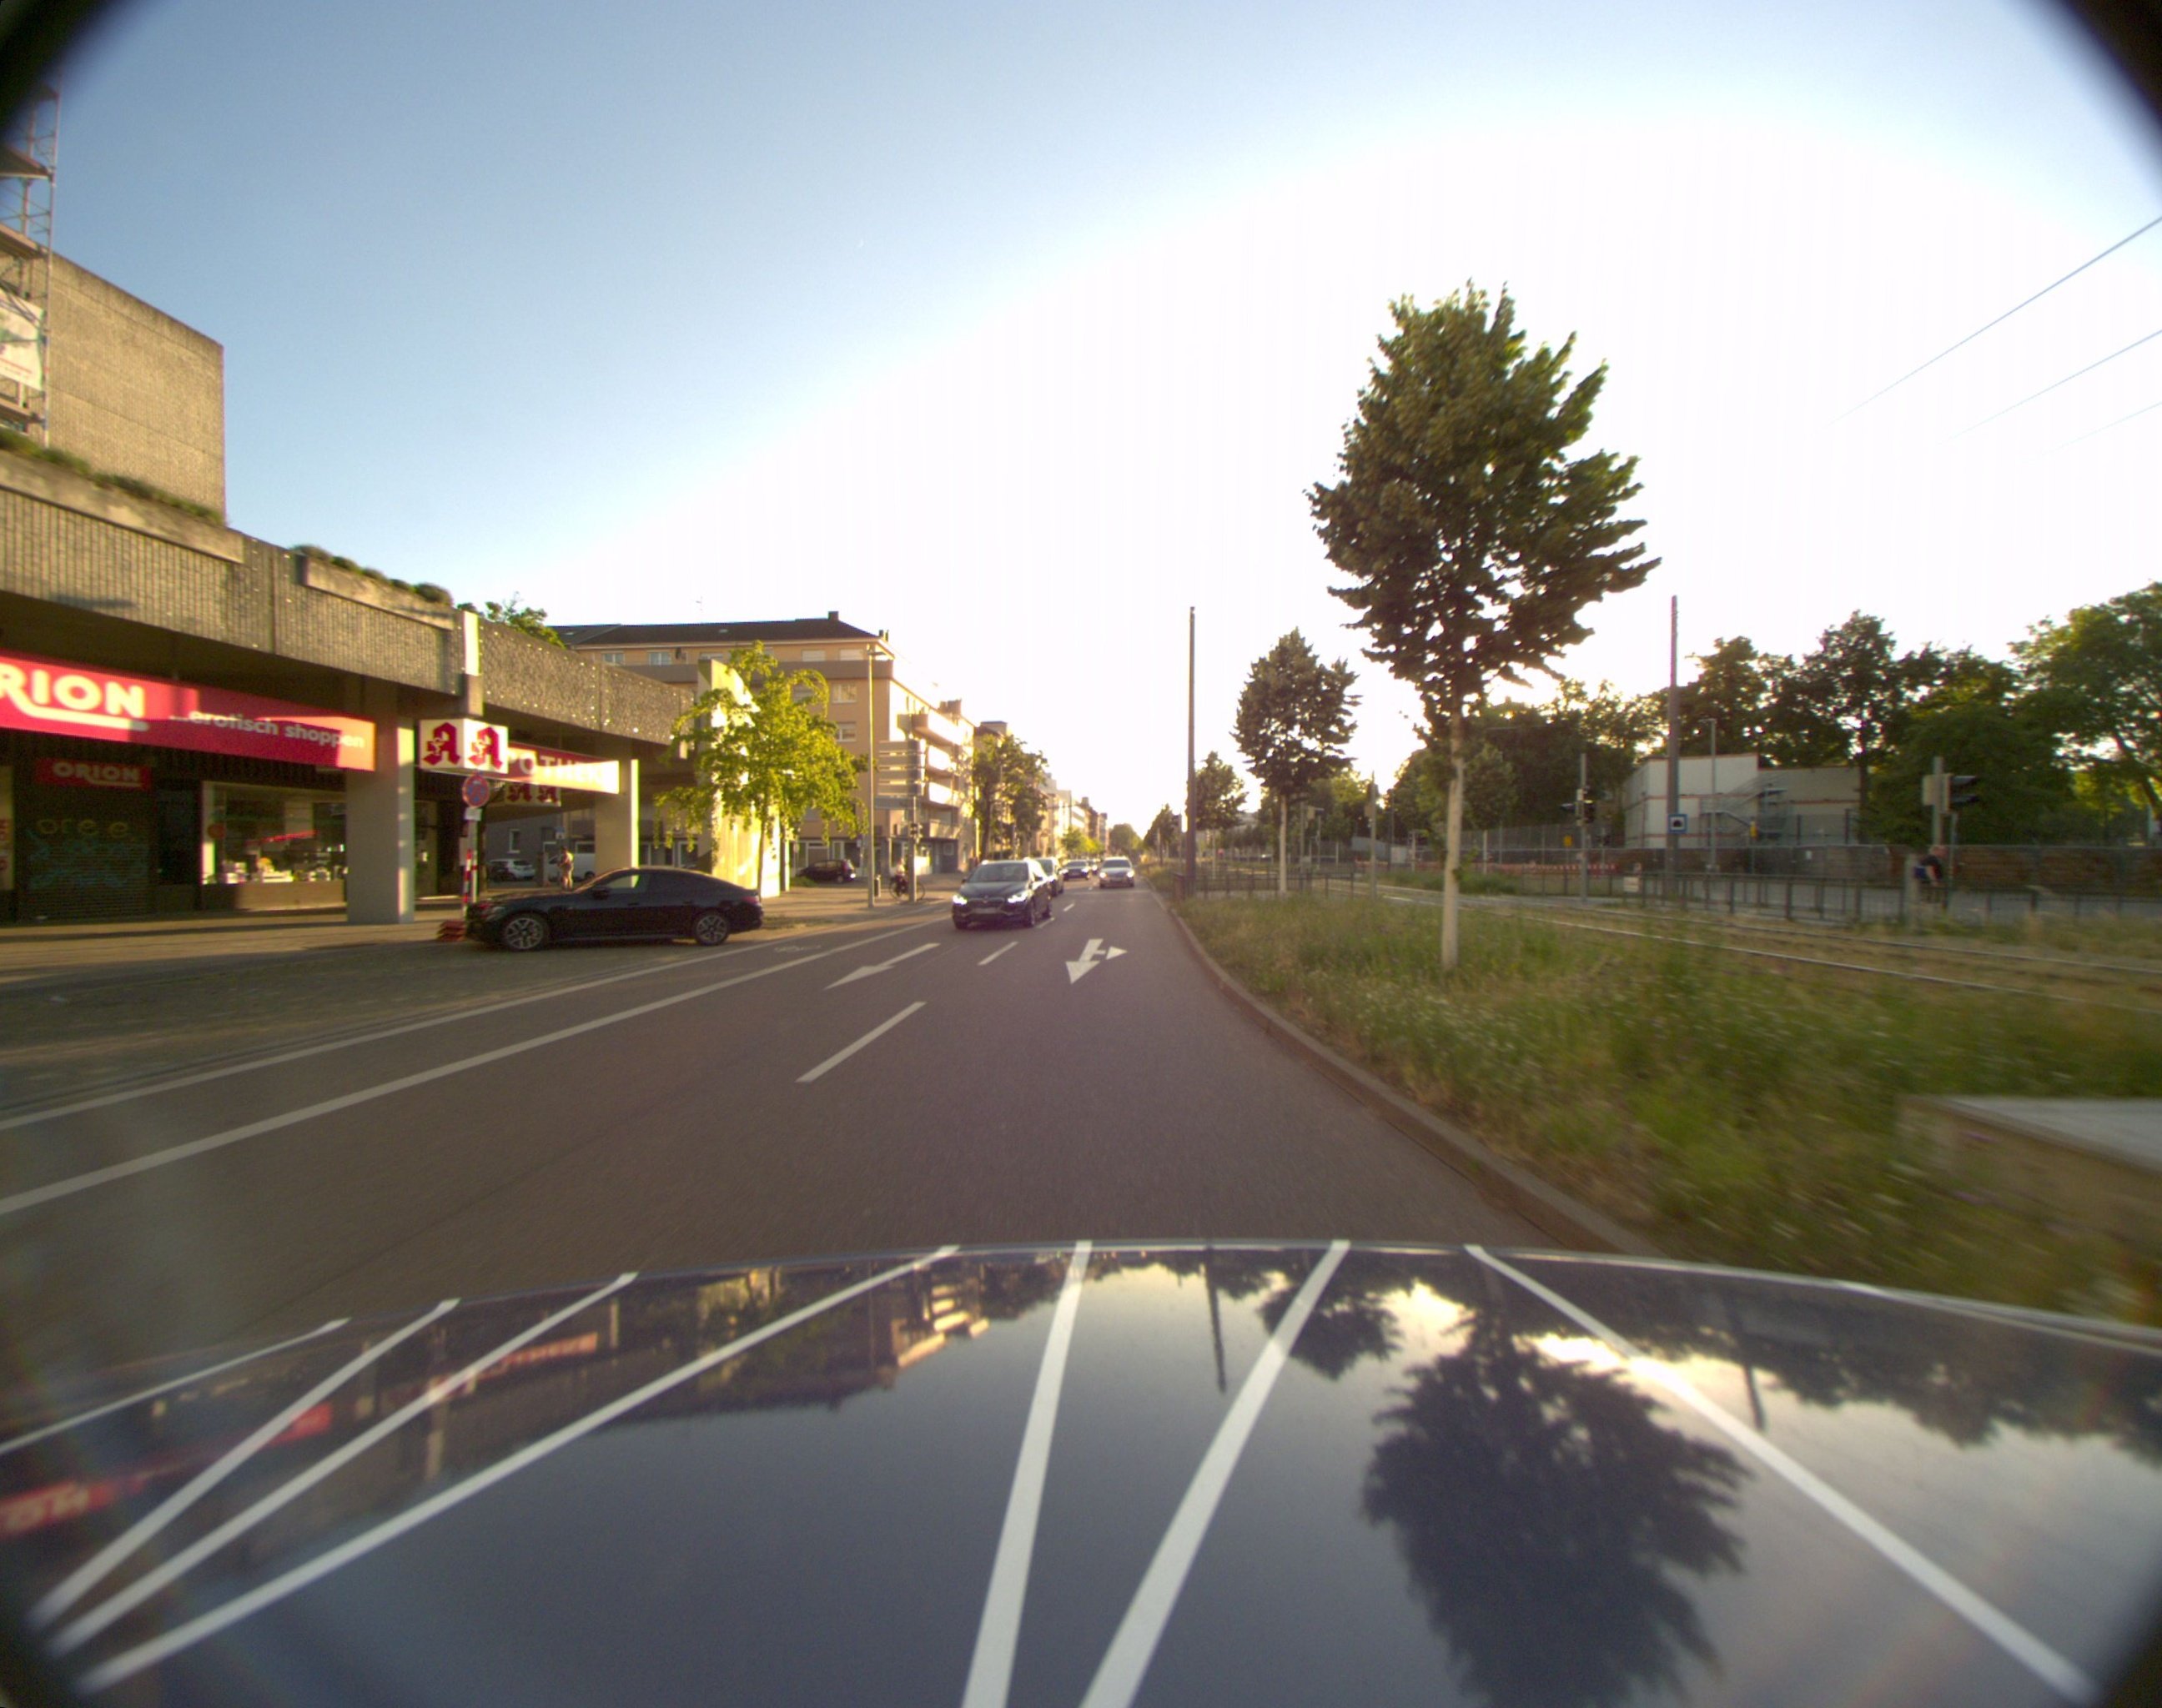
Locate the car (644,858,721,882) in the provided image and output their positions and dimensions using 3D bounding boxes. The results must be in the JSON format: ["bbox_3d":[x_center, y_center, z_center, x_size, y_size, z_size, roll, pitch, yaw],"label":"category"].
[{"bbox_3d":[-26.435,1.031,50.514,4.225,1.432,1.655,0,4,0],"label":"car"}]

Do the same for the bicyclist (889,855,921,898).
[{"bbox_3d":[-7.068,0.878,30.558,0.958,1.682,0.822,1,1,39],"label":"bicyclist"}]

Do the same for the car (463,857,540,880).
[{"bbox_3d":[-39.114,0.982,51.323,3.996,1.477,1.606,0,1,3],"label":"car"}]

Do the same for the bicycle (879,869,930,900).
[{"bbox_3d":[-7.143,1.220,30.690,2.142,1.166,0.822,1,1,39],"label":"bicycle"}]

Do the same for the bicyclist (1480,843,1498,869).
[{"bbox_3d":[25.950,0.126,48.334,0.942,1.611,0.718,-2,0,31],"label":"bicyclist"}]

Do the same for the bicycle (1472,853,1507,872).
[{"bbox_3d":[25.966,0.532,48.337,1.893,1.126,0.718,-2,0,31],"label":"bicycle"}]

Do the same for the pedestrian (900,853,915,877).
[{"bbox_3d":[-11.959,0.741,52.416,0.821,1.606,0.767,0,2,6],"label":"pedestrian"}]

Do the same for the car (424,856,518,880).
[{"bbox_3d":[-38.829,0.905,48.390,4.618,1.460,1.807,0,-1,3],"label":"car"}]

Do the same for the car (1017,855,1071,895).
[{"bbox_3d":[-1.551,0.889,33.476,1.827,1.589,4.368,-2,0,4],"label":"car"}]

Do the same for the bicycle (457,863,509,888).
[{"bbox_3d":[-26.288,0.947,33.452,0.782,1.051,1.923,1,-1,0],"label":"bicycle"}]

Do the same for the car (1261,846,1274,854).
[{"bbox_3d":[36.202,-0.774,147.931,1.848,1.551,3.801,-2,0,5],"label":"car"}]

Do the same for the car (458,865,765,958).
[{"bbox_3d":[-8.553,0.972,14.160,4.616,1.445,1.809,2,0,-36],"label":"car"}]

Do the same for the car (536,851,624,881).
[{"bbox_3d":[-33.538,0.804,50.951,4.535,1.855,1.999,0,4,3],"label":"car"}]

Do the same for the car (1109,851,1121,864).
[{"bbox_3d":[5.346,0.510,121.388,1.726,1.909,4.295,-2,0,1],"label":"car"}]

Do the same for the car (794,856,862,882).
[{"bbox_3d":[-16.512,0.970,49.687,3.811,1.552,1.615,0,4,5],"label":"car"}]

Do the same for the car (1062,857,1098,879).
[{"bbox_3d":[-0.037,0.937,52.553,1.914,1.387,4.279,-2,0,7],"label":"car"}]

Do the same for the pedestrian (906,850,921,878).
[{"bbox_3d":[-11.338,0.666,51.555,0.839,1.849,0.544,0,2,5],"label":"pedestrian"}]

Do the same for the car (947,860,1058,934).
[{"bbox_3d":[-1.776,0.963,18.815,1.824,1.510,4.793,-2,0,5],"label":"car"}]

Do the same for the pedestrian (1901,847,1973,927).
[{"bbox_3d":[17.694,0.696,15.726,0.670,1.597,0.679,-3,-4,22],"label":"pedestrian"}]

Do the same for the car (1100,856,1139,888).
[{"bbox_3d":[2.013,0.888,39.007,1.832,1.455,4.304,-2,0,4],"label":"car"}]
